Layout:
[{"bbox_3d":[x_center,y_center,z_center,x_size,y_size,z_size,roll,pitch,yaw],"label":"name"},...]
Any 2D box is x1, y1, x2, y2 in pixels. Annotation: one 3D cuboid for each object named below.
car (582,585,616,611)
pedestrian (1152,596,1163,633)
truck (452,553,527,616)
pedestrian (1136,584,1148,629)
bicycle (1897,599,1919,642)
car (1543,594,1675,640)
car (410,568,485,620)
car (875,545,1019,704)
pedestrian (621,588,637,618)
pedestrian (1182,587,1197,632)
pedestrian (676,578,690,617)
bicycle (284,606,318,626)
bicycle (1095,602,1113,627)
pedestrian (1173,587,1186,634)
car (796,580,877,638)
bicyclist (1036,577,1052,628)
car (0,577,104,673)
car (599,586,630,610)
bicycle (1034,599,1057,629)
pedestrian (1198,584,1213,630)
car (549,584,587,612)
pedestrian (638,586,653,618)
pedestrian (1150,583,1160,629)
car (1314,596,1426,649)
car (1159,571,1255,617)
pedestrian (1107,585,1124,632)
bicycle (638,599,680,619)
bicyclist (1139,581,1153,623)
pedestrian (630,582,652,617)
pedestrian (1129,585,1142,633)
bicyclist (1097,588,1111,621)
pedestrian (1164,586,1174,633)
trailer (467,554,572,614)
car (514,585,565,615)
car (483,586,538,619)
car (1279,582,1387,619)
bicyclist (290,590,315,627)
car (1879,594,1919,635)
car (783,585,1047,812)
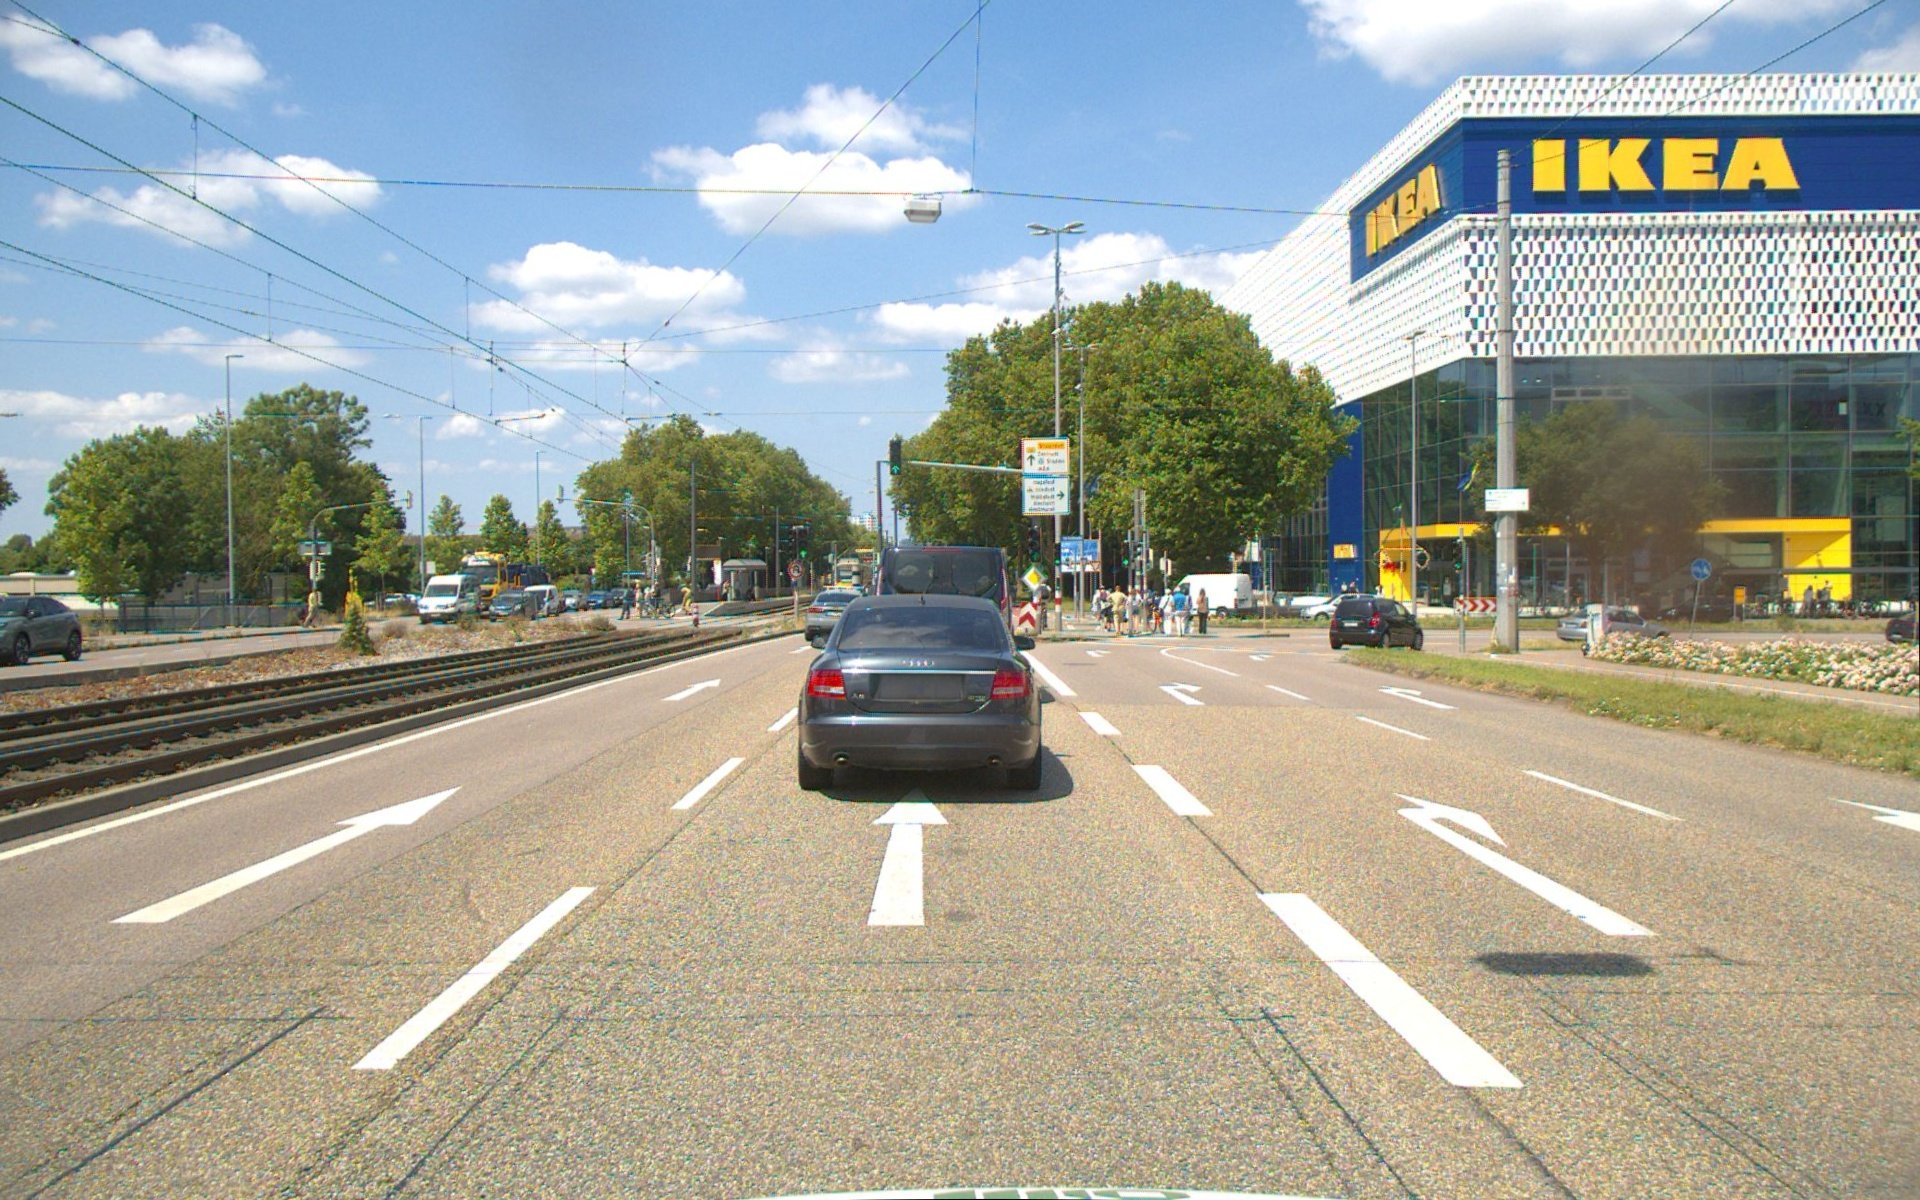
[{"bbox_3d":[-27.842,-0.172,127.593,1.781,1.916,3.999,0,0,-1],"label":"car"},{"bbox_3d":[6.997,0.516,58.639,0.365,1.326,0.365,1,0,2],"label":"pedestrian"},{"bbox_3d":[-27.937,-0.921,98.448,2.711,3.631,6.438,0,0,-1],"label":"truck"},{"bbox_3d":[6.694,0.238,60.780,0.373,1.663,0.377,1,0,2],"label":"pedestrian"},{"bbox_3d":[34.180,0.723,57.693,2.372,1.507,0.989,1,0,4],"label":"bicycle"},{"bbox_3d":[22.811,0.596,58.149,4.094,1.512,1.987,1,1,-22],"label":"car"},{"bbox_3d":[-27.745,-0.378,89.716,2.198,2.634,6.233,-2,1,-2],"label":"car"},{"bbox_3d":[-0.196,0.300,22.691,1.799,1.984,3.999,0,0,-1],"label":"car"},{"bbox_3d":[-16.453,0.146,82.230,0.671,1.468,0.572,0,0,-4],"label":"pedestrian"},{"bbox_3d":[8.452,0.345,60.851,0.493,1.663,0.449,1,0,2],"label":"pedestrian"},{"bbox_3d":[-14.555,-0.120,87.046,0.672,2.049,0.572,0,0,-5],"label":"pedestrian"},{"bbox_3d":[-32.400,0.788,81.334,1.461,1.004,0.485,1,0,-5],"label":"bicycle"},{"bbox_3d":[5.287,0.537,60.729,0.538,0.892,1.698,1,0,2],"label":"bicycle"},{"bbox_3d":[7.776,0.363,58.622,0.389,1.663,0.371,1,0,2],"label":"pedestrian"},{"bbox_3d":[-3.393,0.215,46.078,1.953,1.512,4.000,2,1,-1],"label":"car"},{"bbox_3d":[3.026,0.088,59.921,0.518,1.820,1.088,0,0,0],"label":"bicyclist"},{"bbox_3d":[-21.029,0.497,36.719,1.954,1.951,4.407,2,1,-4],"label":"car"},{"bbox_3d":[-27.841,-0.189,133.366,1.781,1.916,3.999,0,0,-1],"label":"car"},{"bbox_3d":[3.091,0.499,59.951,0.673,1.011,2.751,1,0,0],"label":"bicycle"},{"bbox_3d":[9.025,0.261,60.793,0.510,1.699,0.494,1,0,2],"label":"pedestrian"},{"bbox_3d":[-27.938,-0.137,117.944,1.781,1.916,3.999,0,0,-1],"label":"car"},{"bbox_3d":[-15.829,0.093,83.350,0.671,1.592,0.572,0,0,-4],"label":"pedestrian"},{"bbox_3d":[7.163,0.224,60.759,0.332,1.663,0.377,1,0,2],"label":"pedestrian"},{"bbox_3d":[12.696,0.667,51.031,1.961,1.512,3.984,2,1,37],"label":"car"},{"bbox_3d":[13.053,-0.328,87.614,4.682,2.349,1.991,1,0,38],"label":"car"},{"bbox_3d":[5.516,0.291,58.689,0.542,1.663,0.433,1,0,2],"label":"pedestrian"},{"bbox_3d":[-14.844,0.445,81.460,2.019,0.941,0.751,0,0,-11],"label":"bicycle"},{"bbox_3d":[7.953,0.098,70.763,0.517,1.795,0.828,0,0,13],"label":"bicyclist"},{"bbox_3d":[-16.387,-0.034,84.863,0.806,1.750,0.775,1,0,21],"label":"pedestrian"},{"bbox_3d":[6.218,0.319,58.678,0.435,1.663,0.430,1,0,2],"label":"pedestrian"},{"bbox_3d":[5.296,0.154,60.883,0.461,1.214,0.791,0,0,2],"label":"bicyclist"},{"bbox_3d":[7.404,0.323,58.643,0.314,1.663,0.377,1,0,2],"label":"pedestrian"},{"bbox_3d":[-28.062,-1.013,106.294,2.711,3.580,15.875,0,0,-1],"label":"trailer"},{"bbox_3d":[-24.615,-0.008,96.952,1.785,1.699,4.462,1,1,1],"label":"car"},{"bbox_3d":[-24.301,0.106,89.502,1.785,1.699,4.461,1,1,-1],"label":"car"},{"bbox_3d":[16.556,0.015,73.549,4.403,1.512,2.001,2,1,3],"label":"car"},{"bbox_3d":[-32.328,0.403,81.321,1.097,1.805,0.340,1,0,-6],"label":"bicyclist"},{"bbox_3d":[36.649,0.544,61.556,3.904,1.515,1.736,0,0,1],"label":"car"},{"bbox_3d":[-0.323,0.649,13.187,1.756,1.480,4.000,-1,1,-1],"label":"car"}]
